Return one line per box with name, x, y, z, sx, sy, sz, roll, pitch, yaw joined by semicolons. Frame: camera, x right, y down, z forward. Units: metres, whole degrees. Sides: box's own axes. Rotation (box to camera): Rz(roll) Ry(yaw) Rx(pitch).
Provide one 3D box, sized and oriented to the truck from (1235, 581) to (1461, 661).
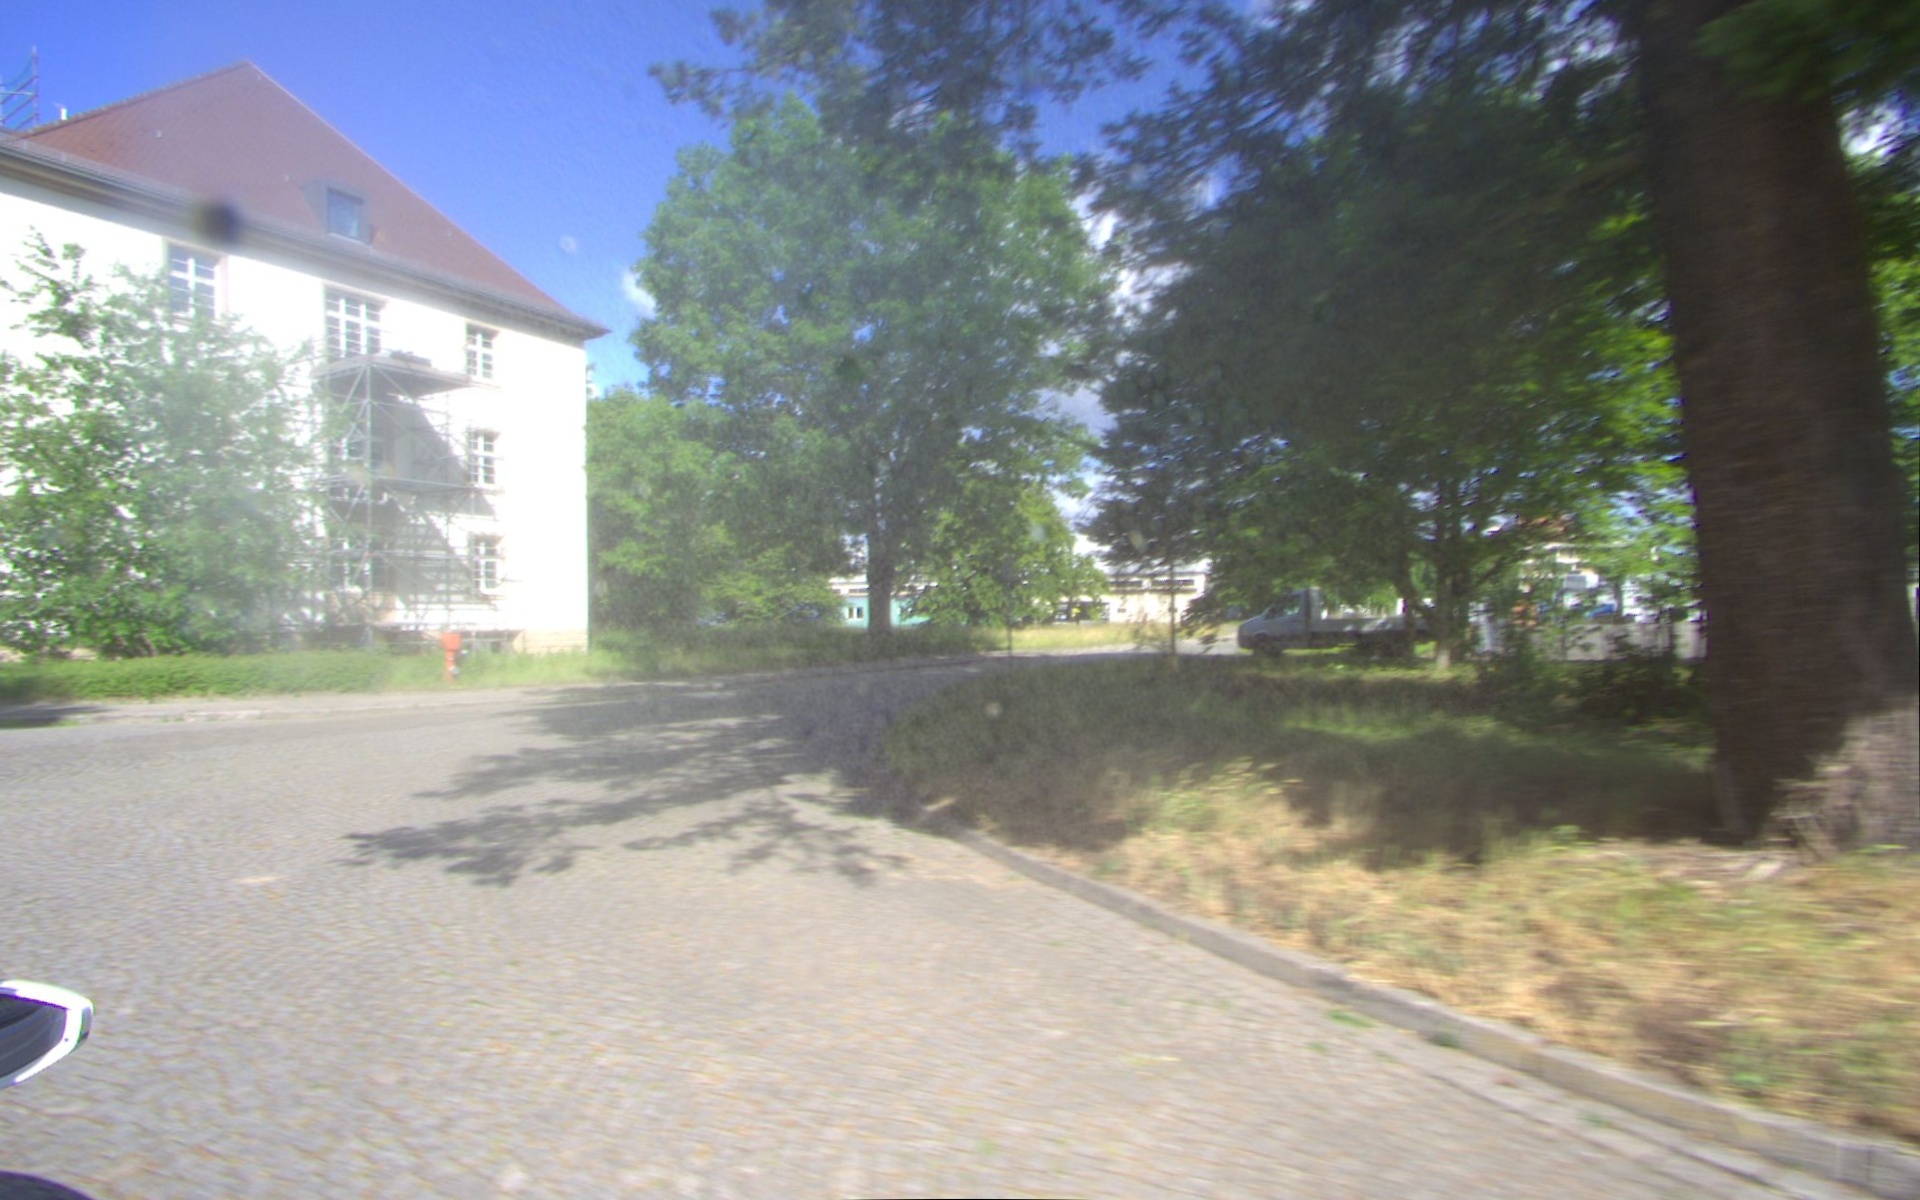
truck;12.814;0.738;33.307;6.783;2.454;2.231;-1;-2;30
